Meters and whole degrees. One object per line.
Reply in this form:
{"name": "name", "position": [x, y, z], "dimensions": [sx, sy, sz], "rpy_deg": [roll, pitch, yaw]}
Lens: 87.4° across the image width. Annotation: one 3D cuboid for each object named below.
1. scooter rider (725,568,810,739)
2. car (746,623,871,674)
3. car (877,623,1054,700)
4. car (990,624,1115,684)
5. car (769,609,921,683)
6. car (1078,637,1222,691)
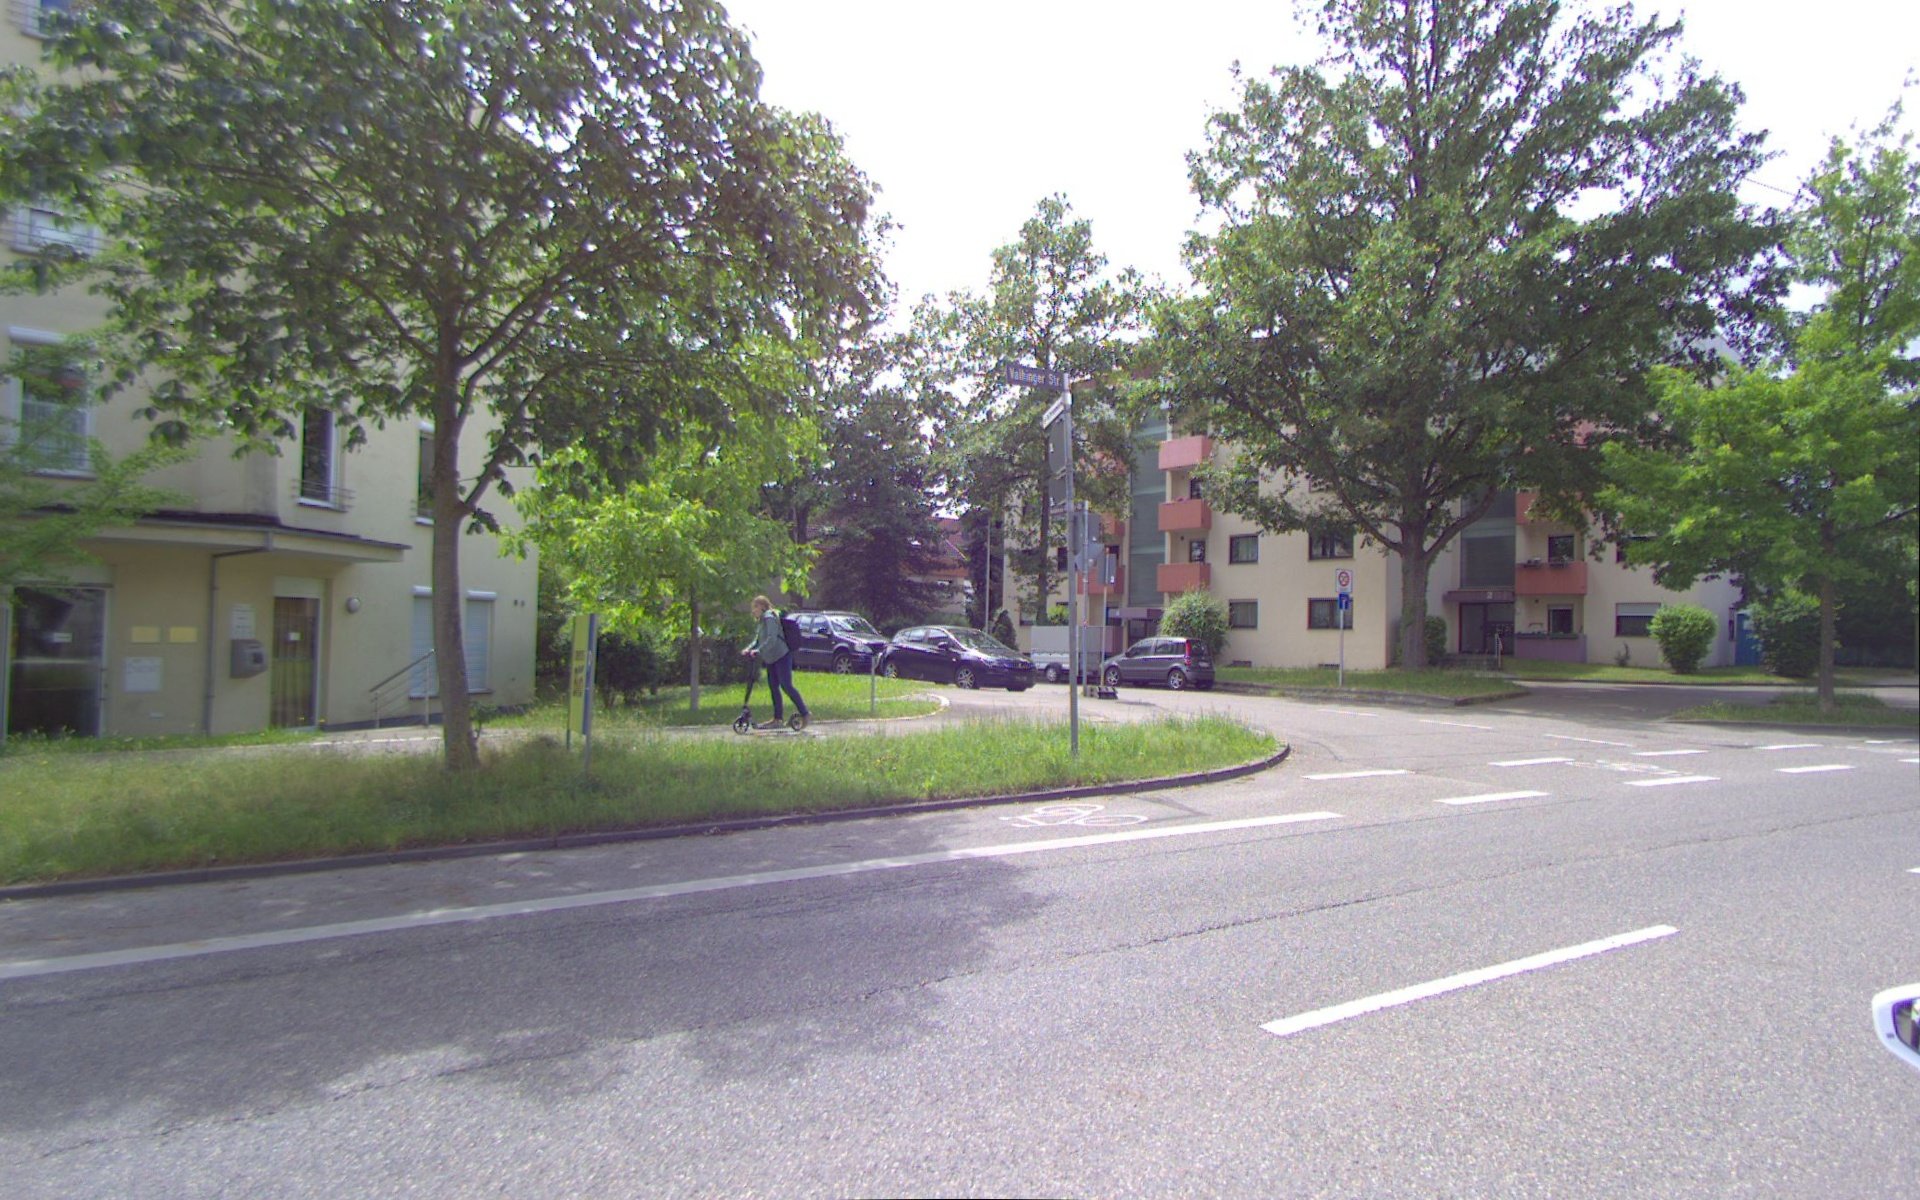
{"name": "scooter rider", "position": [-2.386, 0.642, 12.446], "dimensions": [0.785, 2.040, 0.673], "rpy_deg": [2, 0, -31]}
{"name": "car", "position": [-5.807, 1.828, 38.519], "dimensions": [4.337, 1.817, 2.124], "rpy_deg": [0, -2, 27]}
{"name": "car", "position": [0.046, 1.339, 23.075], "dimensions": [1.725, 1.417, 4.100], "rpy_deg": [2, 0, -43]}
{"name": "car", "position": [3.037, 1.775, 33.487], "dimensions": [1.833, 1.868, 3.950], "rpy_deg": [2, -3, -43]}
{"name": "car", "position": [-3.182, 1.195, 27.161], "dimensions": [1.857, 1.675, 4.378], "rpy_deg": [2, 0, -42]}
{"name": "car", "position": [5.636, 1.869, 30.051], "dimensions": [3.944, 1.471, 1.687], "rpy_deg": [-1, -2, 43]}
